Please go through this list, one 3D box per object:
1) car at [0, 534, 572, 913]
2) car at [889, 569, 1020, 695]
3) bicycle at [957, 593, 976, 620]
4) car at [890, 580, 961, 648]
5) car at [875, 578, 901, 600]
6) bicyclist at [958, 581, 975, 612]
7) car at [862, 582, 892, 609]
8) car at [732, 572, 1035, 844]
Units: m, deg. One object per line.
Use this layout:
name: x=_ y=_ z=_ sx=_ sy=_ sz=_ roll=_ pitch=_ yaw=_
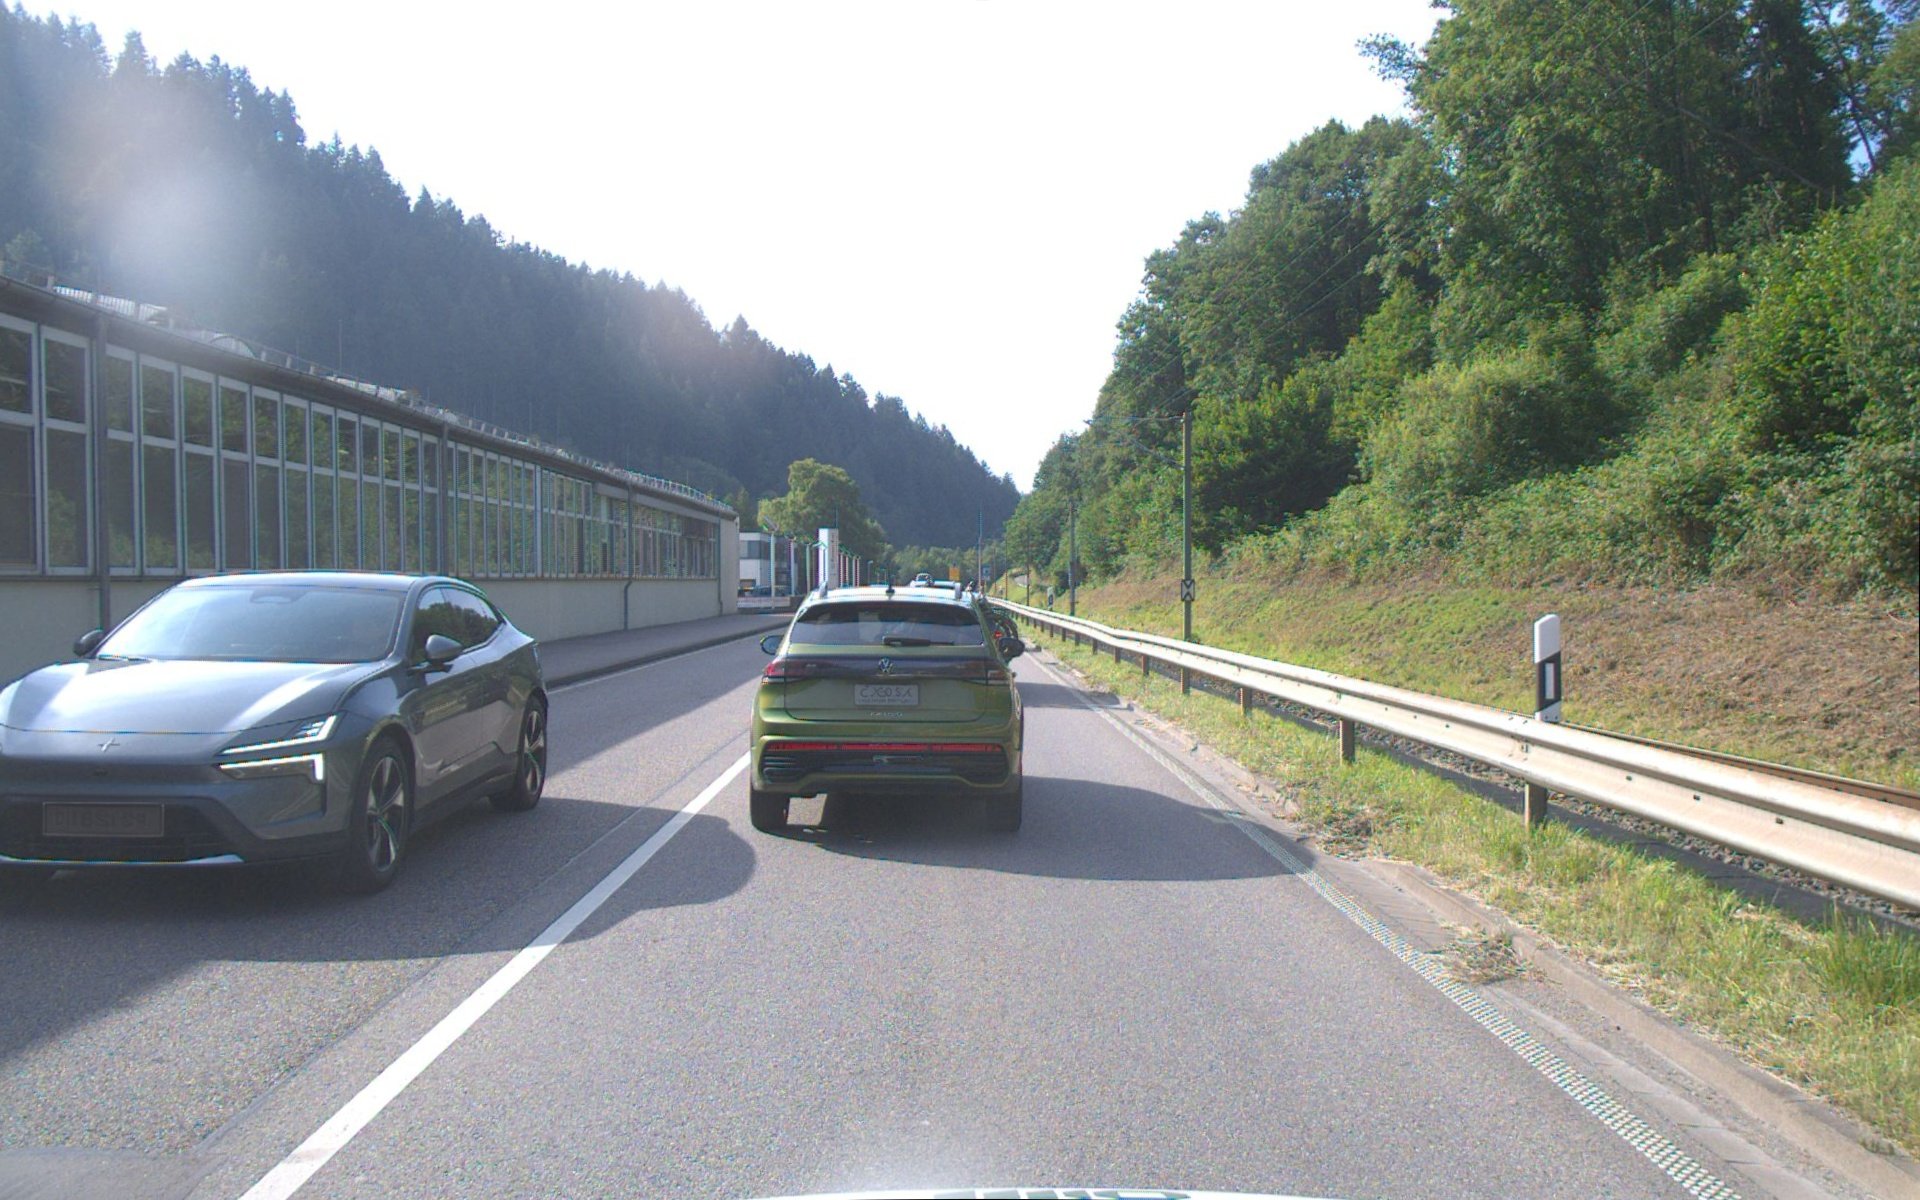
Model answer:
car: x=-3.679 y=0.517 z=9.433 sx=1.891 sy=1.609 sz=4.457 roll=2 pitch=0 yaw=-1
car: x=-0.132 y=0.407 z=23.775 sx=1.704 sy=1.630 sz=3.999 roll=1 pitch=0 yaw=-2
bicycle: x=0.316 y=0.292 z=78.103 sx=0.795 sy=1.272 sz=2.121 roll=0 pitch=0 yaw=-3
car: x=-0.893 y=0.320 z=42.273 sx=1.704 sy=1.630 sz=3.999 roll=1 pitch=0 yaw=-2
car: x=-5.230 y=-0.797 z=120.131 sx=1.738 sy=1.516 sz=4.051 roll=1 pitch=0 yaw=-1
bicyclist: x=0.319 y=-0.180 z=77.932 sx=0.766 sy=1.436 sz=0.674 roll=0 pitch=0 yaw=-3
car: x=-5.081 y=-0.277 z=101.278 sx=1.684 sy=1.540 sz=4.198 roll=1 pitch=0 yaw=-1
car: x=-0.490 y=0.599 z=11.368 sx=1.704 sy=1.534 sz=3.999 roll=0 pitch=0 yaw=-2
